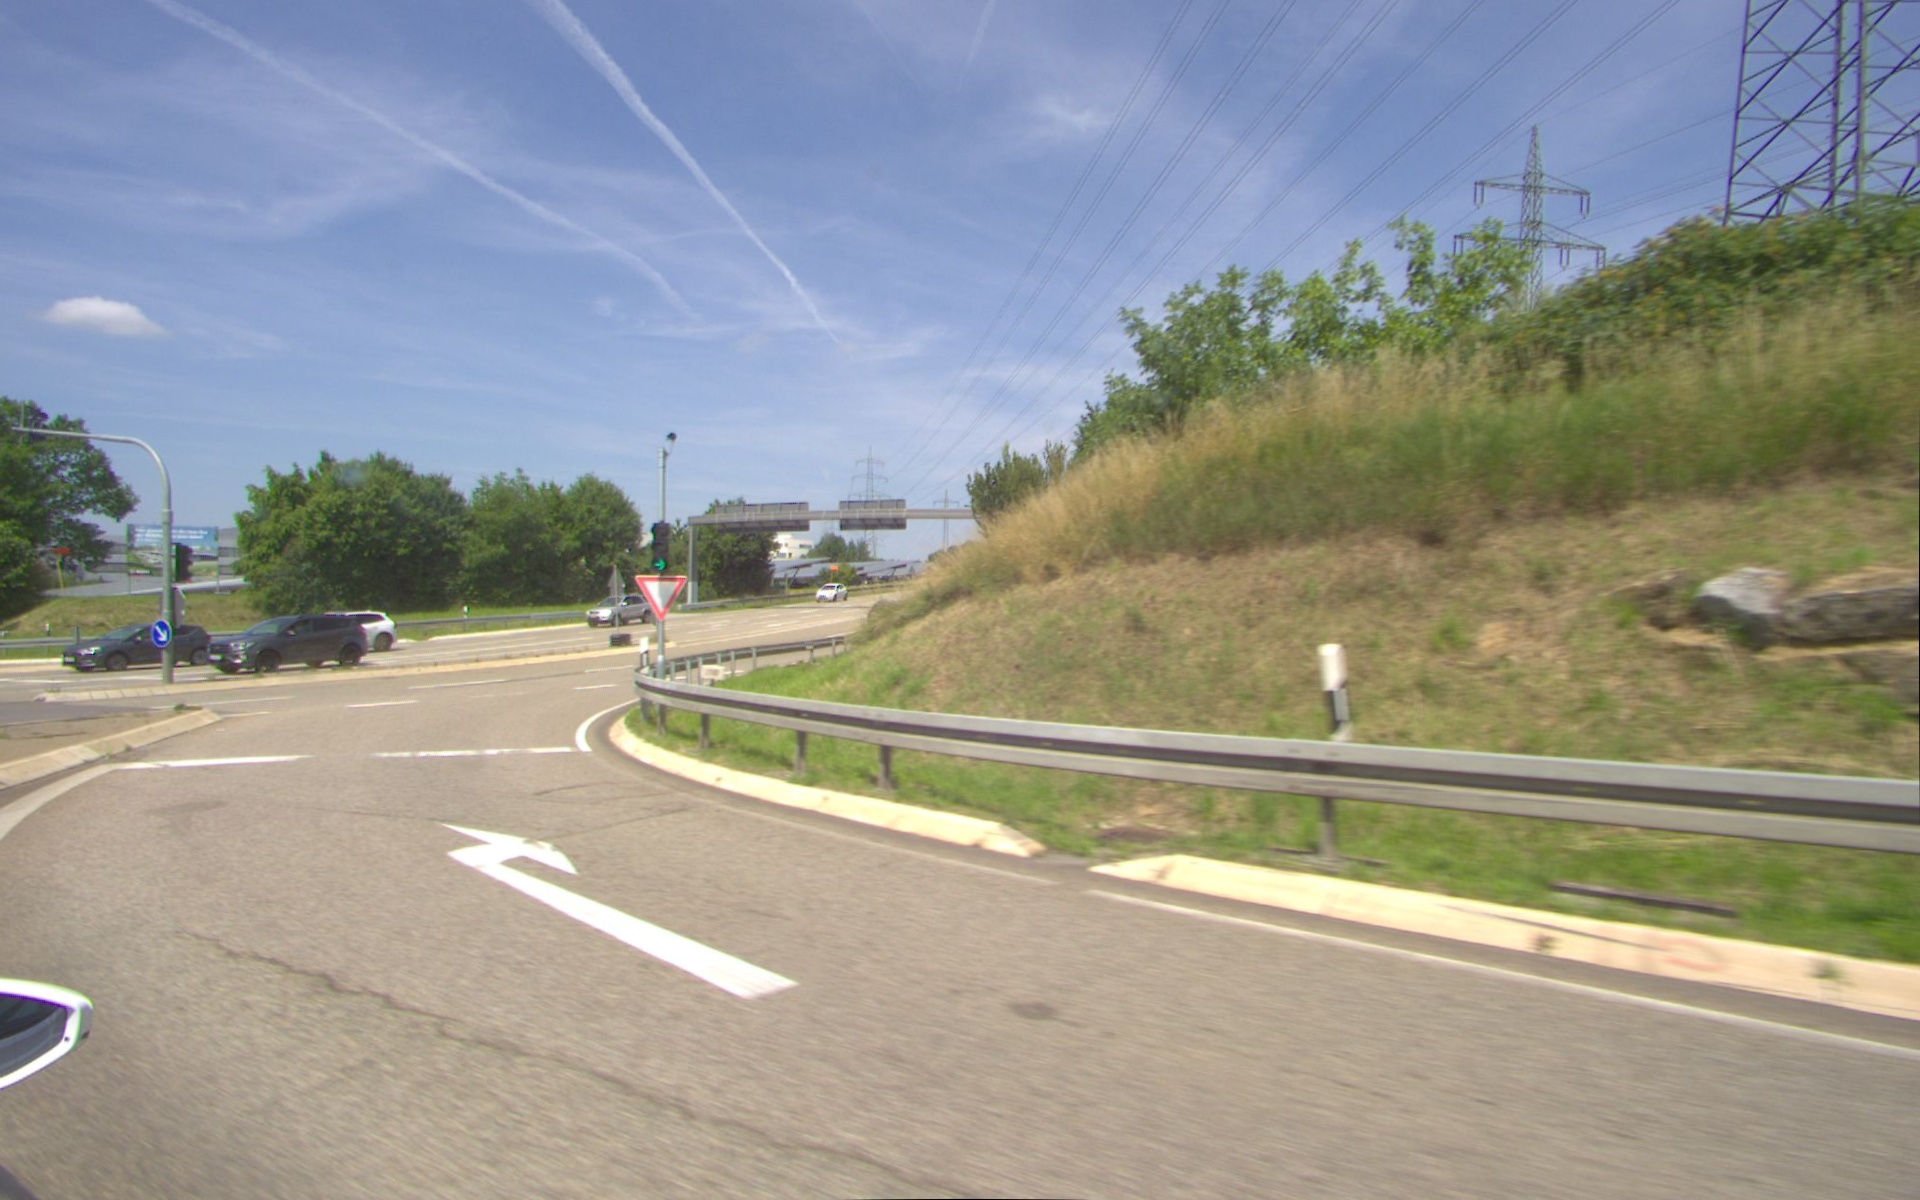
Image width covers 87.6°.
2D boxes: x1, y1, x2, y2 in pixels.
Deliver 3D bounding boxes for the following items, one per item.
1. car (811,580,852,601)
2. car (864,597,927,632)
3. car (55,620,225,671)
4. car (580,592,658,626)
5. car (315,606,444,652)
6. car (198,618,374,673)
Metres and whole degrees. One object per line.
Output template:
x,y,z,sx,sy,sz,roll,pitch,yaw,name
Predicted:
-10.831,-0.792,84.587,1.751,1.622,3.987,1,3,22,car
-3.193,0.700,50.387,1.720,1.553,4.289,0,2,17,car
-26.685,1.437,32.752,1.688,1.530,3.989,-1,-1,23,car
-19.163,0.479,56.515,1.805,1.678,4.359,-1,3,20,car
-23.834,1.173,41.305,1.750,1.614,4.357,-1,2,23,car
-20.634,1.353,30.884,1.686,1.530,4.363,-1,-1,20,car
